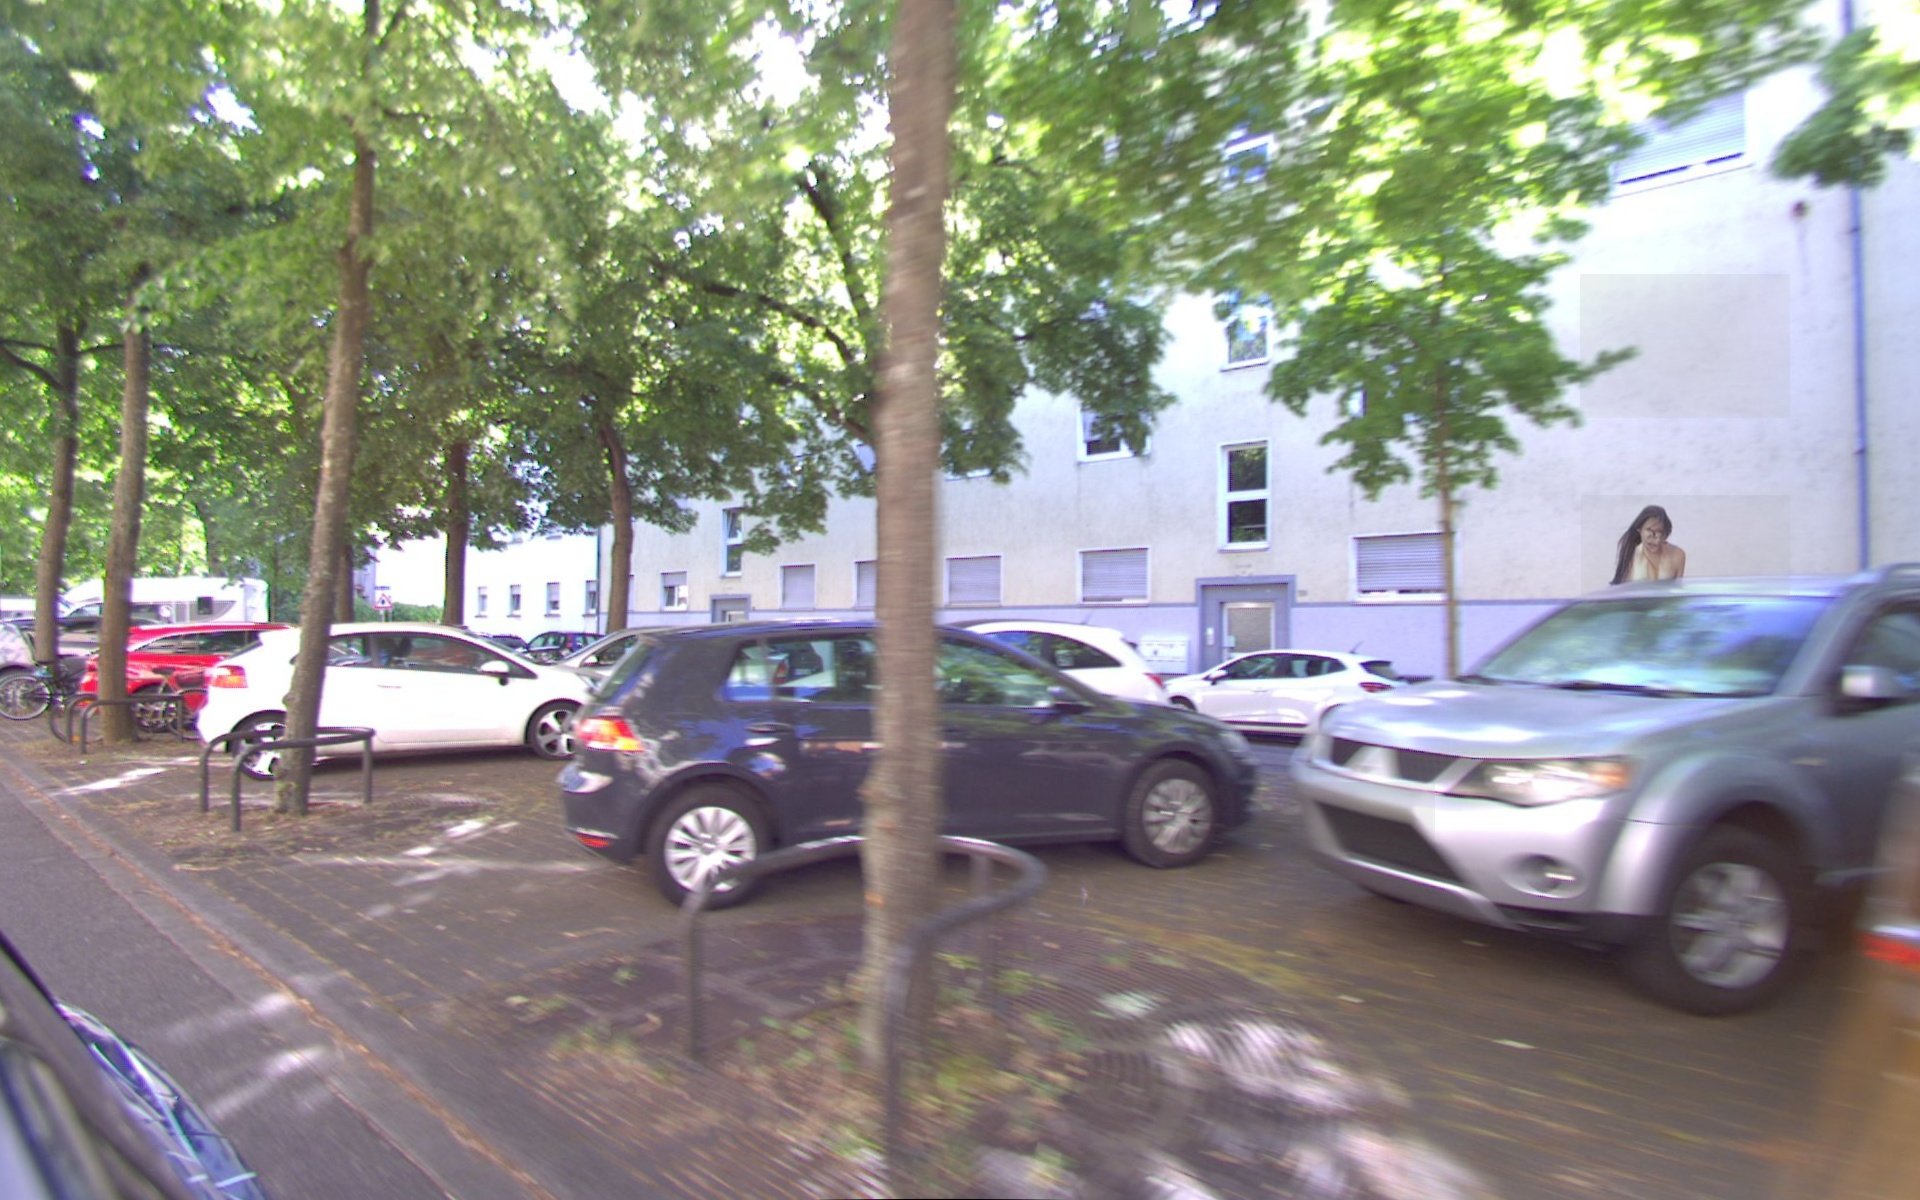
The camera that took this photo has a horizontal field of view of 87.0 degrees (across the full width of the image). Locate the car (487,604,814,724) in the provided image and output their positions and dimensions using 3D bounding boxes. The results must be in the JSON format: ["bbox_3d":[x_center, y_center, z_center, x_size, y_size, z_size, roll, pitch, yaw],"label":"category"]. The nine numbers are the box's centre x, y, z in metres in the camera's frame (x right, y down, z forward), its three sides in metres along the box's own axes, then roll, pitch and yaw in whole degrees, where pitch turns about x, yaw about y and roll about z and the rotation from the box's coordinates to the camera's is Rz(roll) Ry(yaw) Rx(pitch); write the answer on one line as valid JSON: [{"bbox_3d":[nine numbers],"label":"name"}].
[{"bbox_3d":[-4.044,0.795,13.601,3.932,1.446,1.802,0,-1,-15],"label":"car"}]

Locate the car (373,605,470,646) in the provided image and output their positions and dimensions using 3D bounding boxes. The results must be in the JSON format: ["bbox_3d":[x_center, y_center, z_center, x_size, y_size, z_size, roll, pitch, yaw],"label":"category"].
[{"bbox_3d":[-20.142,0.971,37.821,4.077,1.447,1.732,-1,-4,39],"label":"car"}]

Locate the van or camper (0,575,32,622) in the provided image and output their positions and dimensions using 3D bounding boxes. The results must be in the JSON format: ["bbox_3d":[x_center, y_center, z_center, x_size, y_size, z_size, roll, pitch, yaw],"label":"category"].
[{"bbox_3d":[-65.241,-0.131,66.311,5.929,3.025,2.407,1,-2,-20],"label":"van or camper"}]

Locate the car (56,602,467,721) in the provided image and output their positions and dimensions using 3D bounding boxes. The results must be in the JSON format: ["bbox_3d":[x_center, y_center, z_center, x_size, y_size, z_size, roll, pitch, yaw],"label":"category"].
[{"bbox_3d":[-9.772,0.807,14.596,4.550,1.497,1.766,-1,-1,-17],"label":"car"}]

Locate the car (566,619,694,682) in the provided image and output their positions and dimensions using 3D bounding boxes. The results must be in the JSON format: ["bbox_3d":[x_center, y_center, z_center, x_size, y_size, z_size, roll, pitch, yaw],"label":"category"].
[{"bbox_3d":[-8.997,1.353,27.508,3.576,1.588,1.600,-1,-4,39],"label":"car"}]

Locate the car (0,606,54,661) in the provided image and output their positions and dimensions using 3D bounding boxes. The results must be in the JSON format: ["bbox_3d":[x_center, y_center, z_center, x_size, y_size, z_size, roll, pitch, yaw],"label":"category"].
[{"bbox_3d":[-30.413,1.019,31.183,3.837,1.630,1.658,0,-2,10],"label":"car"}]

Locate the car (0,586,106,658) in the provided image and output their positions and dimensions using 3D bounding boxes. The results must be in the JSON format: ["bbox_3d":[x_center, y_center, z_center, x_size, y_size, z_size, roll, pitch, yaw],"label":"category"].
[{"bbox_3d":[-35.697,0.809,37.157,6.220,2.578,2.345,0,-1,-16],"label":"car"}]

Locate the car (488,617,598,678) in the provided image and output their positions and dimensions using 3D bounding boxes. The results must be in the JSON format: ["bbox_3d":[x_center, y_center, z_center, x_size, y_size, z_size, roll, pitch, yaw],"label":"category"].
[{"bbox_3d":[-12.566,1.432,30.417,3.597,1.689,1.459,-1,-5,40],"label":"car"}]

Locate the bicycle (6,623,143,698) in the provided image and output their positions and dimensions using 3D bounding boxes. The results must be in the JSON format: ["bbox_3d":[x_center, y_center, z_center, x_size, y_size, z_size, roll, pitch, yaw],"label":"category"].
[{"bbox_3d":[-14.654,0.988,16.782,1.662,1.167,0.380,0,-1,-29],"label":"bicycle"}]

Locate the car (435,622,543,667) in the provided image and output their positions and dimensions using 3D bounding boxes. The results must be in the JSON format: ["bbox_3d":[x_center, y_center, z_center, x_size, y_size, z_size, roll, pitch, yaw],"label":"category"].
[{"bbox_3d":[-16.066,1.481,34.419,4.300,1.409,1.628,-1,0,40],"label":"car"}]

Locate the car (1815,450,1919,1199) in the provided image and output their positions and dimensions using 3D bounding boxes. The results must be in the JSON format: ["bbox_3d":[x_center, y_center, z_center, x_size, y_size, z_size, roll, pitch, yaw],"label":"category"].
[{"bbox_3d":[4.207,0.476,2.237,4.202,1.654,1.660,-1,0,-20],"label":"car"}]

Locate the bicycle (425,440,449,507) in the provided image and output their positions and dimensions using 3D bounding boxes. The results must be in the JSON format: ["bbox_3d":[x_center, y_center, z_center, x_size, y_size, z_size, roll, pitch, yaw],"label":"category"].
[{"bbox_3d":[-11.296,-2.707,21.877,0.350,1.209,1.807,-1,0,-25],"label":"bicycle"}]

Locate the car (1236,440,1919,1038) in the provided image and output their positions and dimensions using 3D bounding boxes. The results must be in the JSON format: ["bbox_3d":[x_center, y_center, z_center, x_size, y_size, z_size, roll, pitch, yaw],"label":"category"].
[{"bbox_3d":[3.676,0.450,4.699,4.318,1.790,1.905,1,-1,-21],"label":"car"}]

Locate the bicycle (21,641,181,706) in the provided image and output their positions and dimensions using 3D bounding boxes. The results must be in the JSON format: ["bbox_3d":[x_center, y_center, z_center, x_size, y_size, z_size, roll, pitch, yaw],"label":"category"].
[{"bbox_3d":[-13.437,1.137,15.886,1.871,0.926,0.380,0,-1,-29],"label":"bicycle"}]

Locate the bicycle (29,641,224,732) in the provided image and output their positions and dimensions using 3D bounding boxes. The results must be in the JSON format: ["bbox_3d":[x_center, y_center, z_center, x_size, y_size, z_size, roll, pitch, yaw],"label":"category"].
[{"bbox_3d":[-10.056,1.021,12.286,1.786,1.001,0.427,0,-1,-33],"label":"bicycle"}]

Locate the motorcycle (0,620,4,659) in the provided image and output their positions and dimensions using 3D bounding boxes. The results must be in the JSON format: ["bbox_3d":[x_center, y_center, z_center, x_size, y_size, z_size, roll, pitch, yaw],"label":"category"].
[{"bbox_3d":[-33.845,1.383,34.010,0.966,1.345,2.301,-2,0,32],"label":"motorcycle"}]

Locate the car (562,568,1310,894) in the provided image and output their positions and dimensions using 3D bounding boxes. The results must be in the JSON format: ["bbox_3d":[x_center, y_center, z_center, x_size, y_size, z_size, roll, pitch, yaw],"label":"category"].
[{"bbox_3d":[-0.163,0.617,6.078,4.039,1.492,1.737,0,-1,-18],"label":"car"}]

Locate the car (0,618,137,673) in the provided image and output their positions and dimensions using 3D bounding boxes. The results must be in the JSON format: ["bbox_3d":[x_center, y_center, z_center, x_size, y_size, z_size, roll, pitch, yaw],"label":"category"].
[{"bbox_3d":[-25.072,1.202,27.311,4.086,1.436,1.720,0,-1,-16],"label":"car"}]

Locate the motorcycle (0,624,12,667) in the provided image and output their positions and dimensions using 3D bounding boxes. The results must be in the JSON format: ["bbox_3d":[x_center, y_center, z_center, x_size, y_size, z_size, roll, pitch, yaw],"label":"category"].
[{"bbox_3d":[-28.481,1.298,28.796,2.120,1.239,0.883,1,-2,-40],"label":"motorcycle"}]

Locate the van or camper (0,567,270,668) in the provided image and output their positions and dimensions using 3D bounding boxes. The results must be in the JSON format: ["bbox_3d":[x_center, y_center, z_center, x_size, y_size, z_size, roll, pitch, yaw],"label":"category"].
[{"bbox_3d":[-24.809,0.480,30.537,6.197,2.846,2.415,-1,-1,-20],"label":"van or camper"}]

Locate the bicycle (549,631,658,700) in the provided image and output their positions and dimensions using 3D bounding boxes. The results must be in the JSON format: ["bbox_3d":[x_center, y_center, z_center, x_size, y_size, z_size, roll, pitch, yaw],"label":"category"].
[{"bbox_3d":[-6.005,1.087,17.129,1.731,1.096,0.389,1,-1,-43],"label":"bicycle"}]

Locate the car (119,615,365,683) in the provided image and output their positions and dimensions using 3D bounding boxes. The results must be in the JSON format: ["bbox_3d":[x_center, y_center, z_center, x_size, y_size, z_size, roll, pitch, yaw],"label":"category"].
[{"bbox_3d":[-15.932,1.048,22.713,4.128,1.401,1.823,0,-1,-15],"label":"car"}]

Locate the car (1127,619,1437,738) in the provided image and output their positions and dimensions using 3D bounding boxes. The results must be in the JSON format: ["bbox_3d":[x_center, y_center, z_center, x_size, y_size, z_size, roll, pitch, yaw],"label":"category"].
[{"bbox_3d":[4.858,1.125,15.546,4.156,1.577,1.873,-1,-4,40],"label":"car"}]

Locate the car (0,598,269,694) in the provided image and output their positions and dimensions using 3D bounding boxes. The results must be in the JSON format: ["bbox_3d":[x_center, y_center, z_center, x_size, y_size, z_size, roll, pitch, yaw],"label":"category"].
[{"bbox_3d":[-15.781,0.825,19.257,4.018,1.665,1.869,-1,-1,-21],"label":"car"}]

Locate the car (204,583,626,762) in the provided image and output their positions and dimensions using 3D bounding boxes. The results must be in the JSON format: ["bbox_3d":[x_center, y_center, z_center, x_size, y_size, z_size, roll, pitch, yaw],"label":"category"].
[{"bbox_3d":[-5.523,0.654,10.692,3.630,1.608,1.778,-1,-1,-23],"label":"car"}]

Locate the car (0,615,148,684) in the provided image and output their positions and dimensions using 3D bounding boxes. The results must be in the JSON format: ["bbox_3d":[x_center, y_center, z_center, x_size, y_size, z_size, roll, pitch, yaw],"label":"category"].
[{"bbox_3d":[-21.057,1.101,22.802,3.953,1.485,1.630,1,-2,-13],"label":"car"}]

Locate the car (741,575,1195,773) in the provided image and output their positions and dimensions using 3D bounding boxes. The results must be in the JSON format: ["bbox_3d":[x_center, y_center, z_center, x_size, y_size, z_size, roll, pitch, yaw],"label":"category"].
[{"bbox_3d":[0.016,0.655,9.496,3.849,1.567,1.852,1,-2,-18],"label":"car"}]

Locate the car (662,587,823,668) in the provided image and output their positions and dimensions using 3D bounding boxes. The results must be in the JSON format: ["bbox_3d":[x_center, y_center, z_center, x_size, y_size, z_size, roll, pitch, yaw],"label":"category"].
[{"bbox_3d":[-5.193,0.661,24.016,3.833,1.767,1.684,-1,-2,38],"label":"car"}]

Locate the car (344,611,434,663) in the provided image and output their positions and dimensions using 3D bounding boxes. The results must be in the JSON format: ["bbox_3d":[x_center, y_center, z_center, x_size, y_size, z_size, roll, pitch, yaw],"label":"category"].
[{"bbox_3d":[-23.450,1.520,41.532,3.998,2.029,1.972,-1,-3,41],"label":"car"}]

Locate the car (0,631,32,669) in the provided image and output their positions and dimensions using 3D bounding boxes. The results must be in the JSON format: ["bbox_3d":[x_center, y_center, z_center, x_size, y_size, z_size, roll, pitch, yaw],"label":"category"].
[{"bbox_3d":[-41.429,2.201,41.893,4.030,1.537,1.707,-3,0,-18],"label":"car"}]

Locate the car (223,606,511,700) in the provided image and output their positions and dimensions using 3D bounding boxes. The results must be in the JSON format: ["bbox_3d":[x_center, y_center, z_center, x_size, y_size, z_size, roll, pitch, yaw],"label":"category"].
[{"bbox_3d":[-10.083,0.869,17.602,4.045,1.484,1.877,0,-1,-20],"label":"car"}]

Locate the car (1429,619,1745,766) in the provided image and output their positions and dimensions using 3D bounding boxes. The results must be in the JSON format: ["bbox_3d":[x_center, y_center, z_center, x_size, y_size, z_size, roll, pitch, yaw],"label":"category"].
[{"bbox_3d":[7.797,1.054,12.708,3.182,1.571,1.459,-1,0,40],"label":"car"}]
